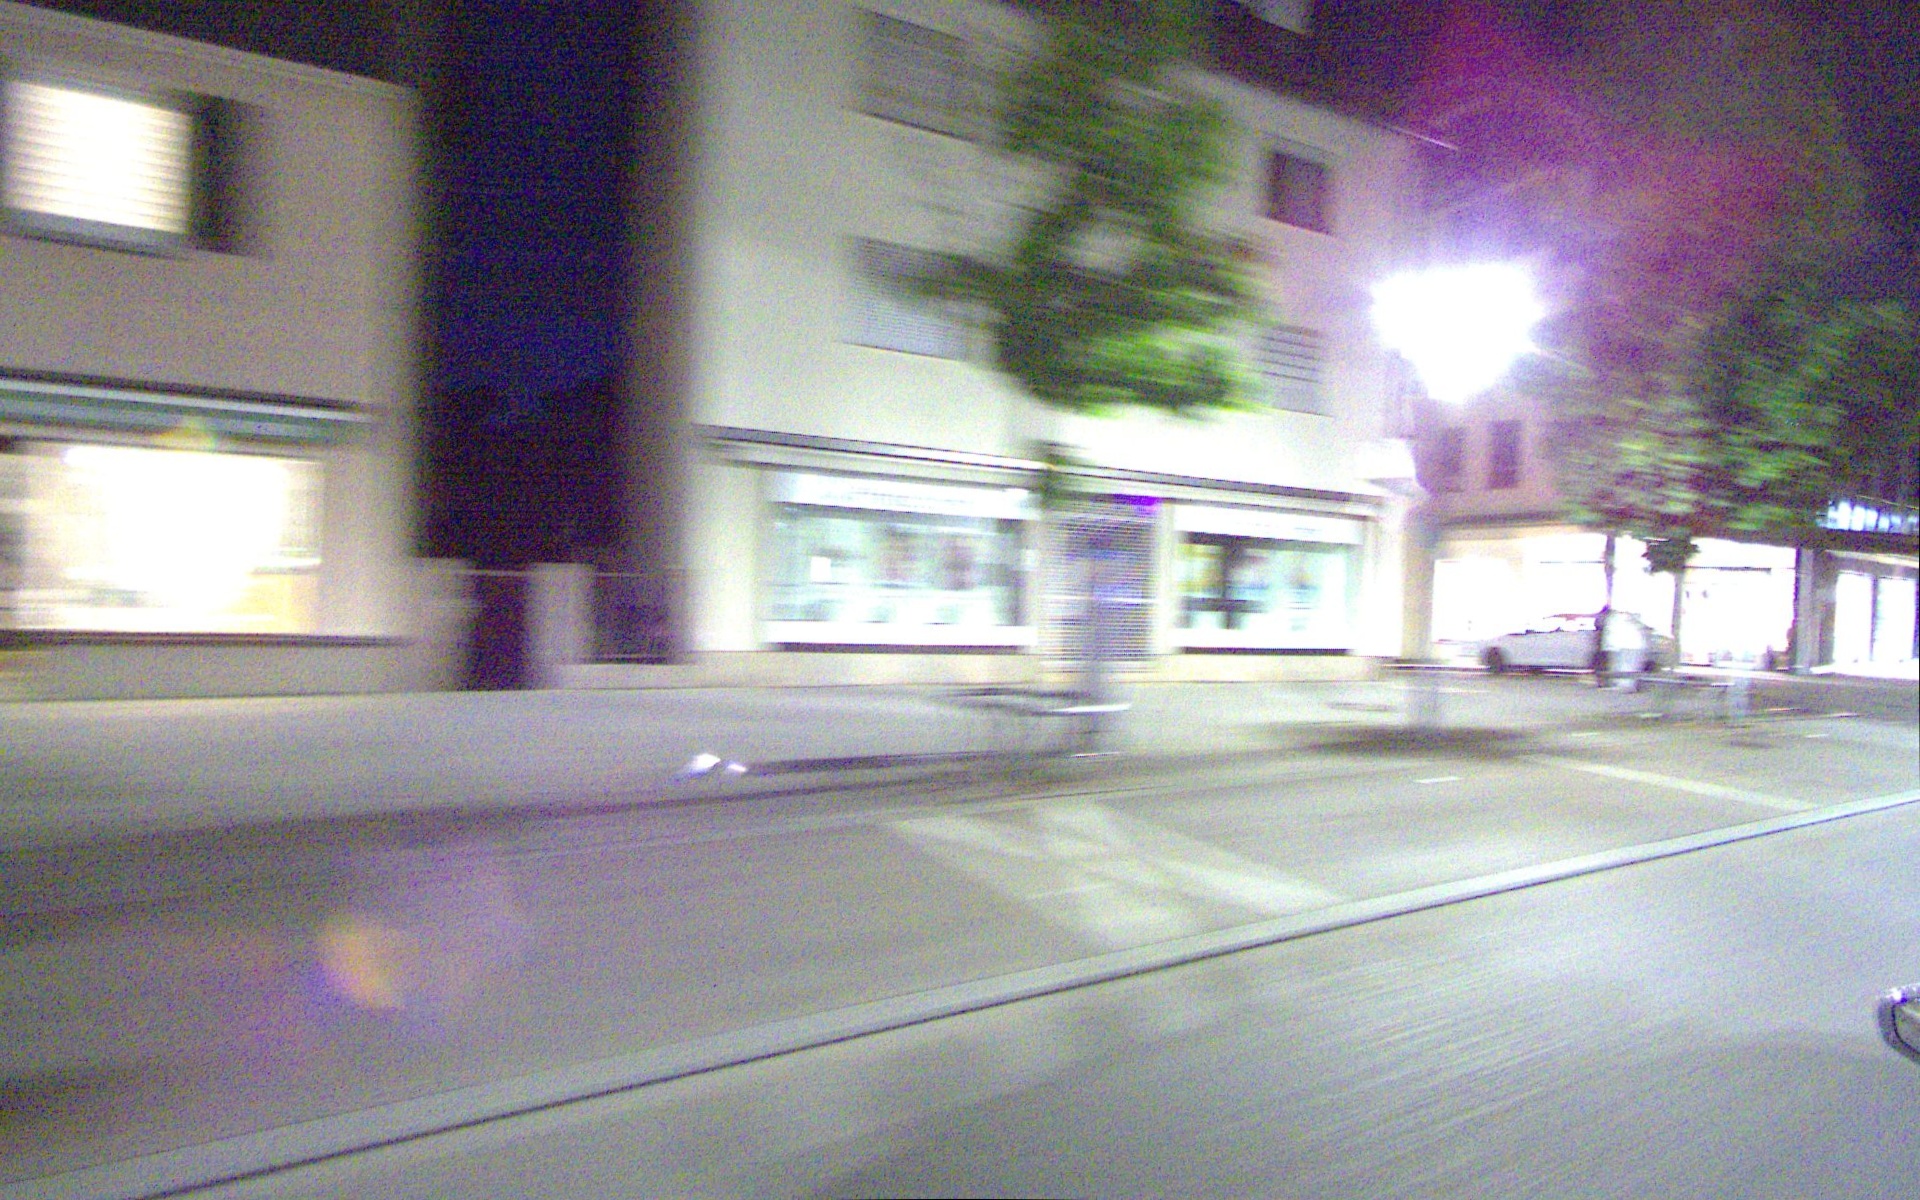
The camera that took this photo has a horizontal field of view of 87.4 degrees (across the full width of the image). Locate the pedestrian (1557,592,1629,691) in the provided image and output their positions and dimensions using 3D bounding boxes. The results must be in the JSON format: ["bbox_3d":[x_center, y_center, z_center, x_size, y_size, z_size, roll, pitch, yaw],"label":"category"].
[{"bbox_3d":[11.134,0.705,17.672,0.807,1.678,0.766,-1,1,-29],"label":"pedestrian"}]

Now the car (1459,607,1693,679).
[{"bbox_3d":[13.627,0.975,22.512,1.816,1.457,4.154,2,-3,-26],"label":"car"}]

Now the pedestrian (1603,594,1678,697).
[{"bbox_3d":[11.506,0.745,16.990,0.772,1.678,0.766,-1,1,-29],"label":"pedestrian"}]
